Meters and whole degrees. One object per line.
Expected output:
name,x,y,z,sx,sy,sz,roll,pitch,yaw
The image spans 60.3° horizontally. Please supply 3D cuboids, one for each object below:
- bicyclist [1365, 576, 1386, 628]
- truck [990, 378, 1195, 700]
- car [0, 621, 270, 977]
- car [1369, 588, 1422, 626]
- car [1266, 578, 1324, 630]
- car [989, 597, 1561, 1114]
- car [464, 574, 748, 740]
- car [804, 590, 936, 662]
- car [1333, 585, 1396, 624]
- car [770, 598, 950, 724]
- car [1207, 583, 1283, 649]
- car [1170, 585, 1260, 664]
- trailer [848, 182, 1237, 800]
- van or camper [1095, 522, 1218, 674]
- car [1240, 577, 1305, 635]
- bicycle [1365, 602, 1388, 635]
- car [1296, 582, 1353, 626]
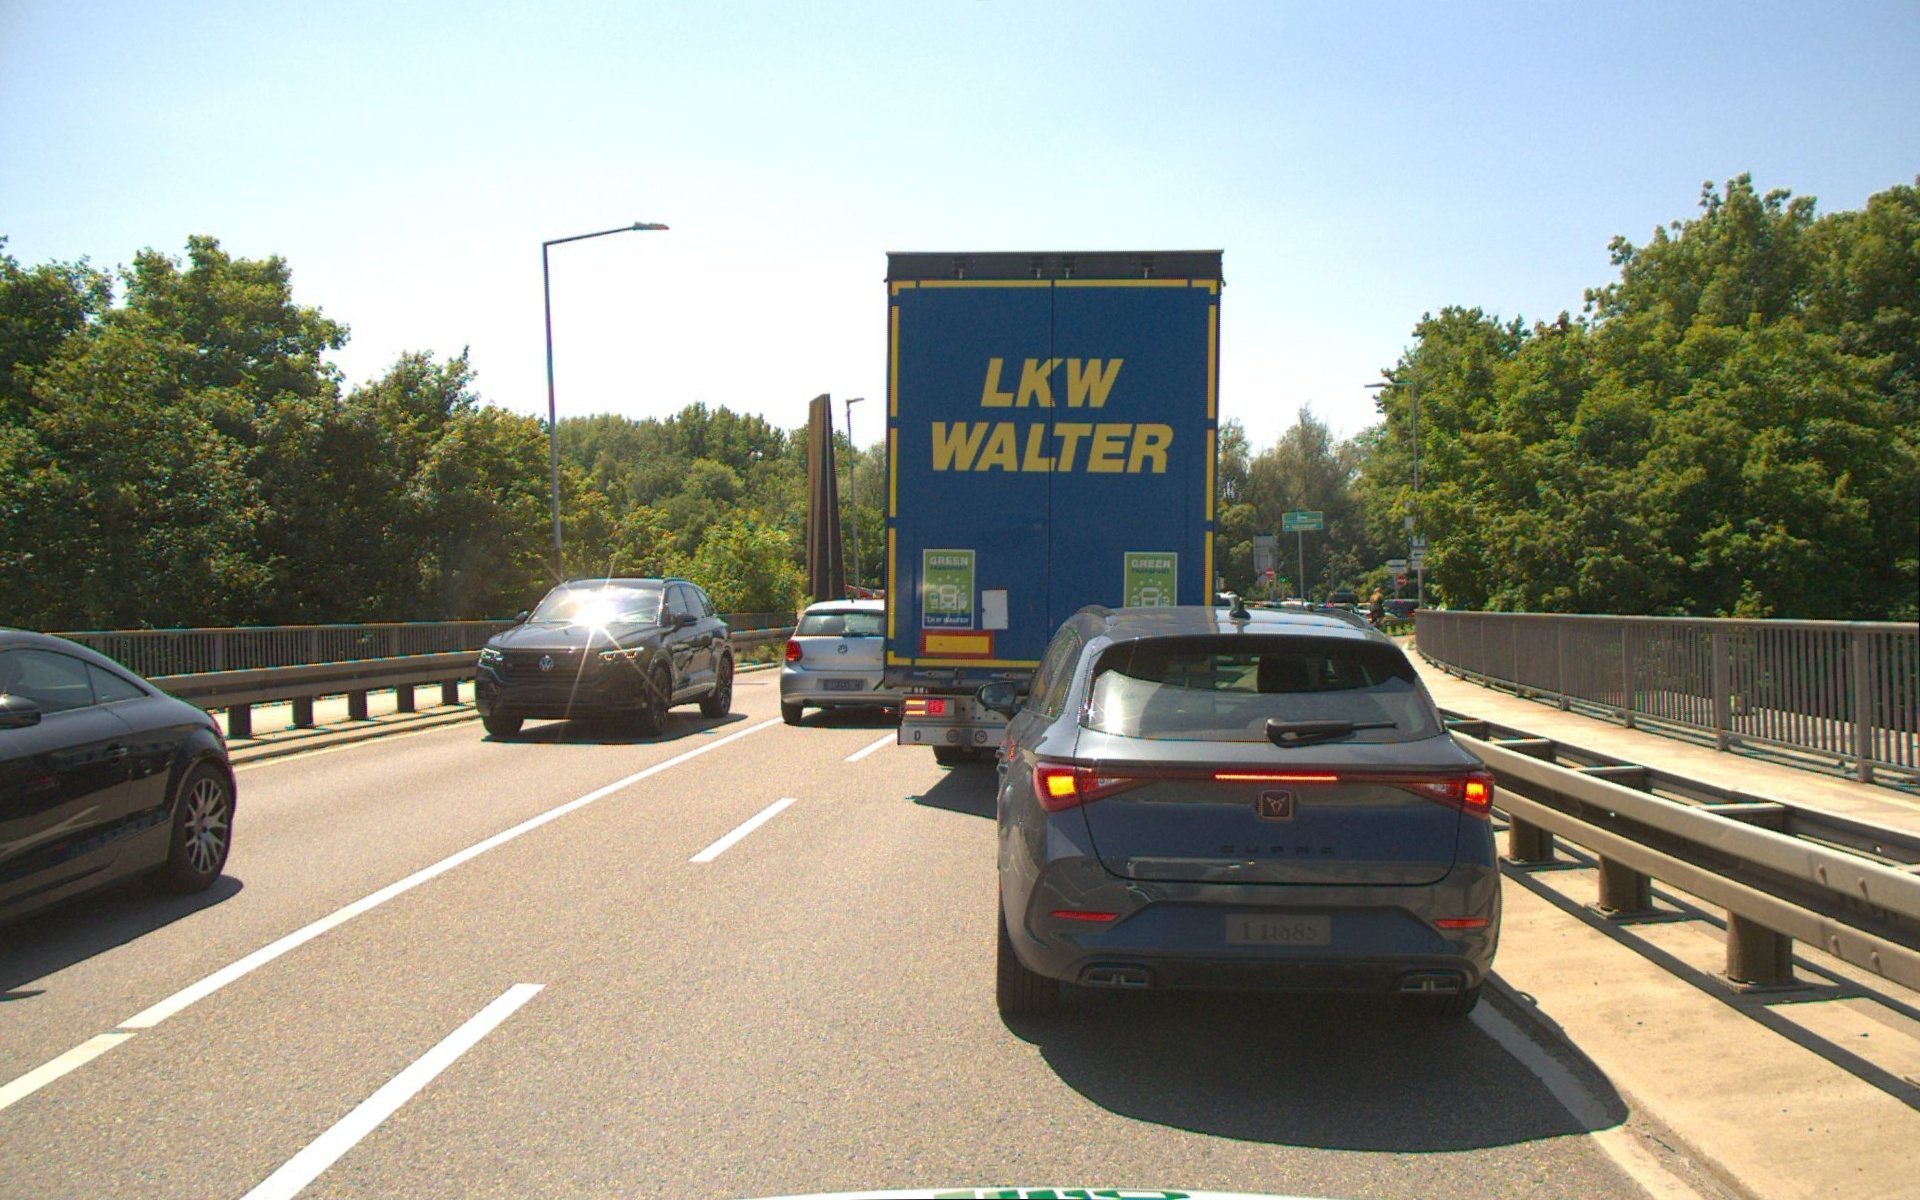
bicyclist,14.114,0.069,56.185,0.565,1.712,0.730,-3,0,9
truck,2.251,-0.875,26.519,2.843,4.496,6.560,0,0,7
car,-4.503,0.782,6.782,1.644,1.331,3.973,0,0,1
car,21.461,0.353,81.417,1.653,1.791,3.994,0,-1,28
car,12.683,0.127,62.444,1.685,1.876,4.002,0,0,18
car,0.998,0.730,6.763,1.642,1.481,3.960,0,0,3
car,-3.947,0.584,19.328,1.924,1.702,4.617,-1,0,6
car,-1.934,0.535,36.988,1.674,1.494,4.463,0,0,14
car,18.469,0.227,75.458,1.954,1.603,3.996,2,-1,26
car,-1.172,0.700,21.129,1.641,1.436,3.978,0,0,6
car,8.368,0.422,48.331,1.684,1.834,4.002,0,0,17
car,6.495,0.561,41.784,1.684,1.876,4.002,0,1,17
trailer,1.293,-0.840,18.373,2.843,4.496,12.442,0,0,6
van or camper,4.202,-0.053,34.471,2.108,2.865,6.393,0,0,11
car,10.704,0.179,56.459,1.685,1.876,4.002,0,0,18
bicycle,14.146,0.619,56.231,0.569,1.053,1.486,-3,0,9
car,15.252,0.187,69.141,1.651,1.791,3.999,0,-1,23
